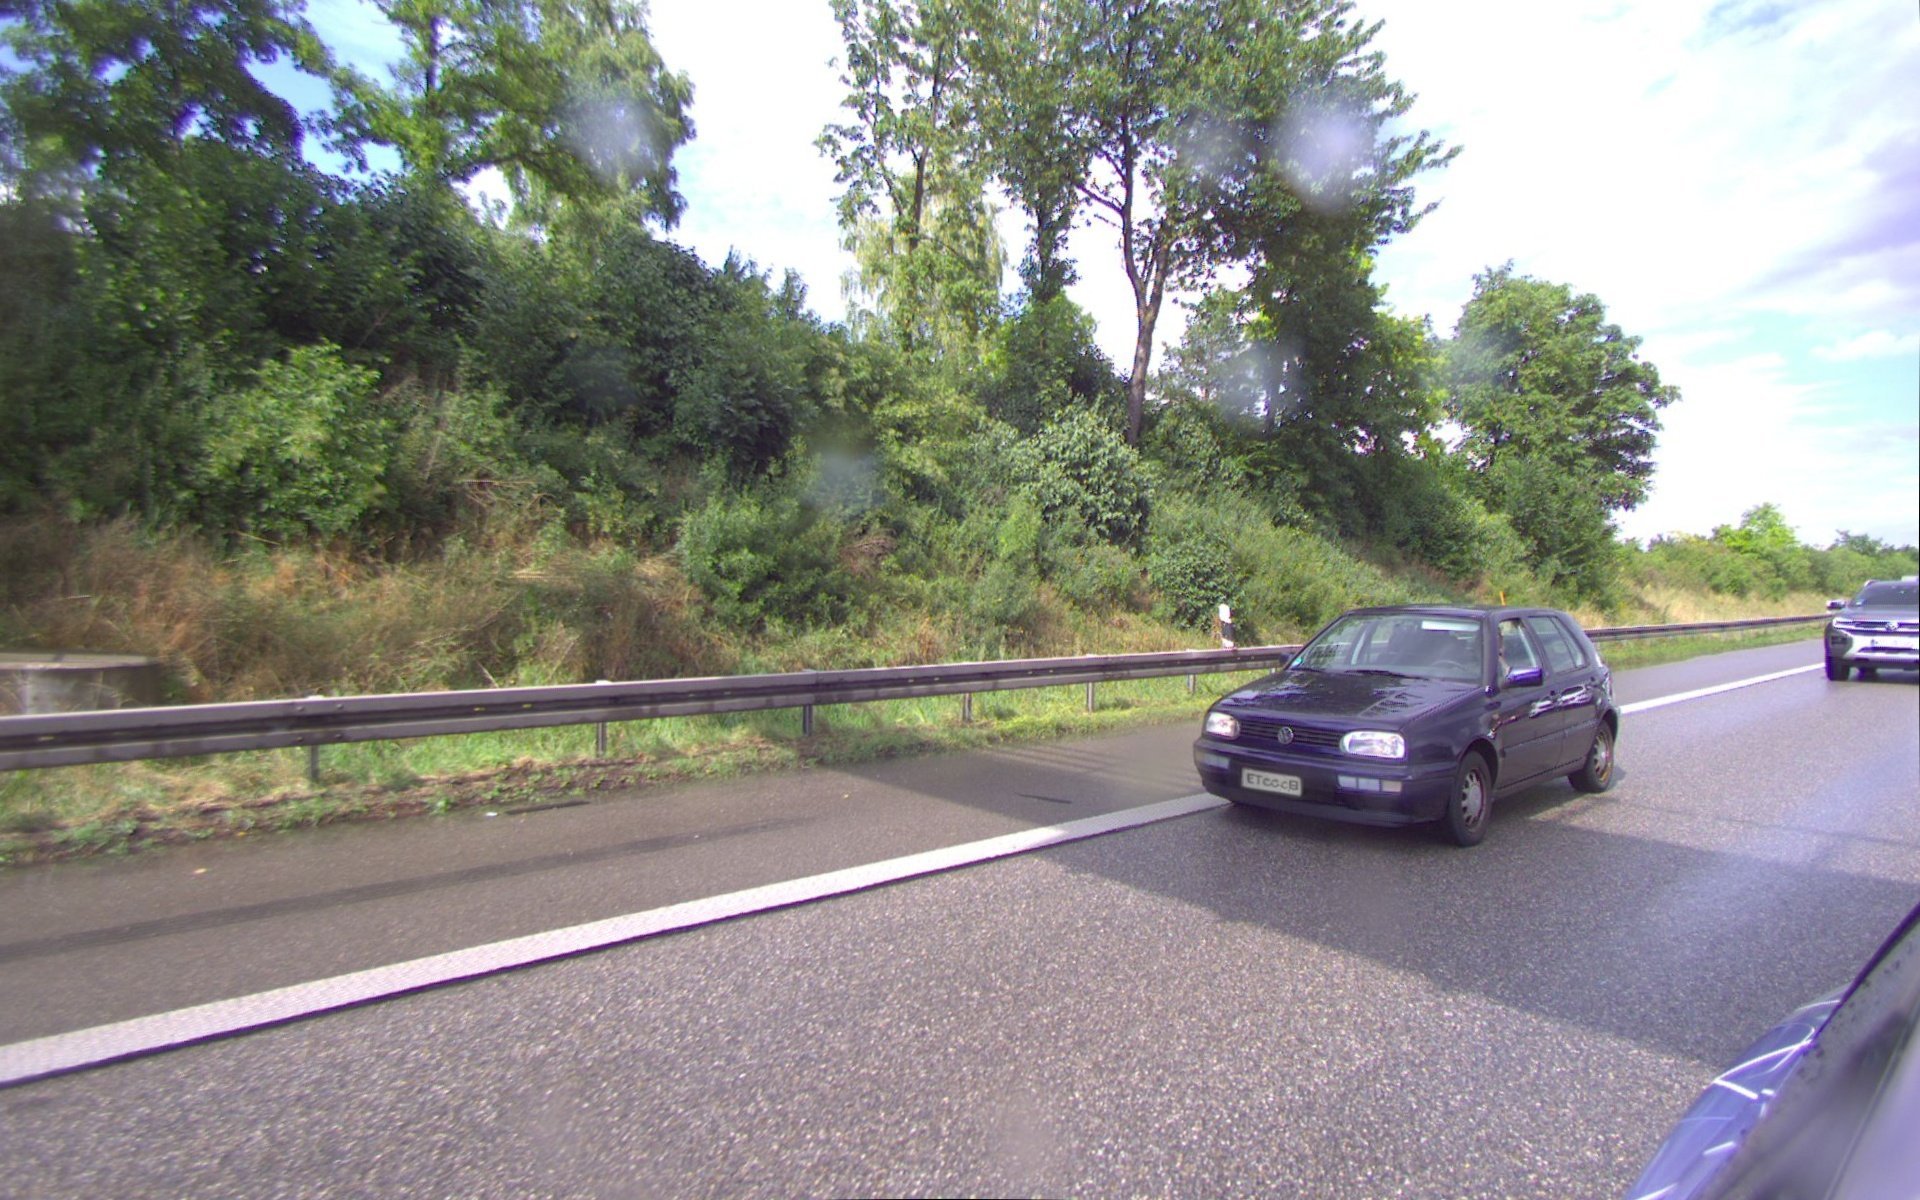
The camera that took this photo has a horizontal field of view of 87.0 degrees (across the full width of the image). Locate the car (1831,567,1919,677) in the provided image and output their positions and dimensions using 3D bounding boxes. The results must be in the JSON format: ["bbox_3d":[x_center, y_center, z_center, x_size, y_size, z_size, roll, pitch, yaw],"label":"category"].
[{"bbox_3d":[17.726,0.346,18.600,5.212,1.826,1.830,0,1,-41],"label":"car"}]

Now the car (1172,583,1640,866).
[{"bbox_3d":[3.282,0.623,7.133,3.680,1.474,1.653,-1,1,-42],"label":"car"}]
